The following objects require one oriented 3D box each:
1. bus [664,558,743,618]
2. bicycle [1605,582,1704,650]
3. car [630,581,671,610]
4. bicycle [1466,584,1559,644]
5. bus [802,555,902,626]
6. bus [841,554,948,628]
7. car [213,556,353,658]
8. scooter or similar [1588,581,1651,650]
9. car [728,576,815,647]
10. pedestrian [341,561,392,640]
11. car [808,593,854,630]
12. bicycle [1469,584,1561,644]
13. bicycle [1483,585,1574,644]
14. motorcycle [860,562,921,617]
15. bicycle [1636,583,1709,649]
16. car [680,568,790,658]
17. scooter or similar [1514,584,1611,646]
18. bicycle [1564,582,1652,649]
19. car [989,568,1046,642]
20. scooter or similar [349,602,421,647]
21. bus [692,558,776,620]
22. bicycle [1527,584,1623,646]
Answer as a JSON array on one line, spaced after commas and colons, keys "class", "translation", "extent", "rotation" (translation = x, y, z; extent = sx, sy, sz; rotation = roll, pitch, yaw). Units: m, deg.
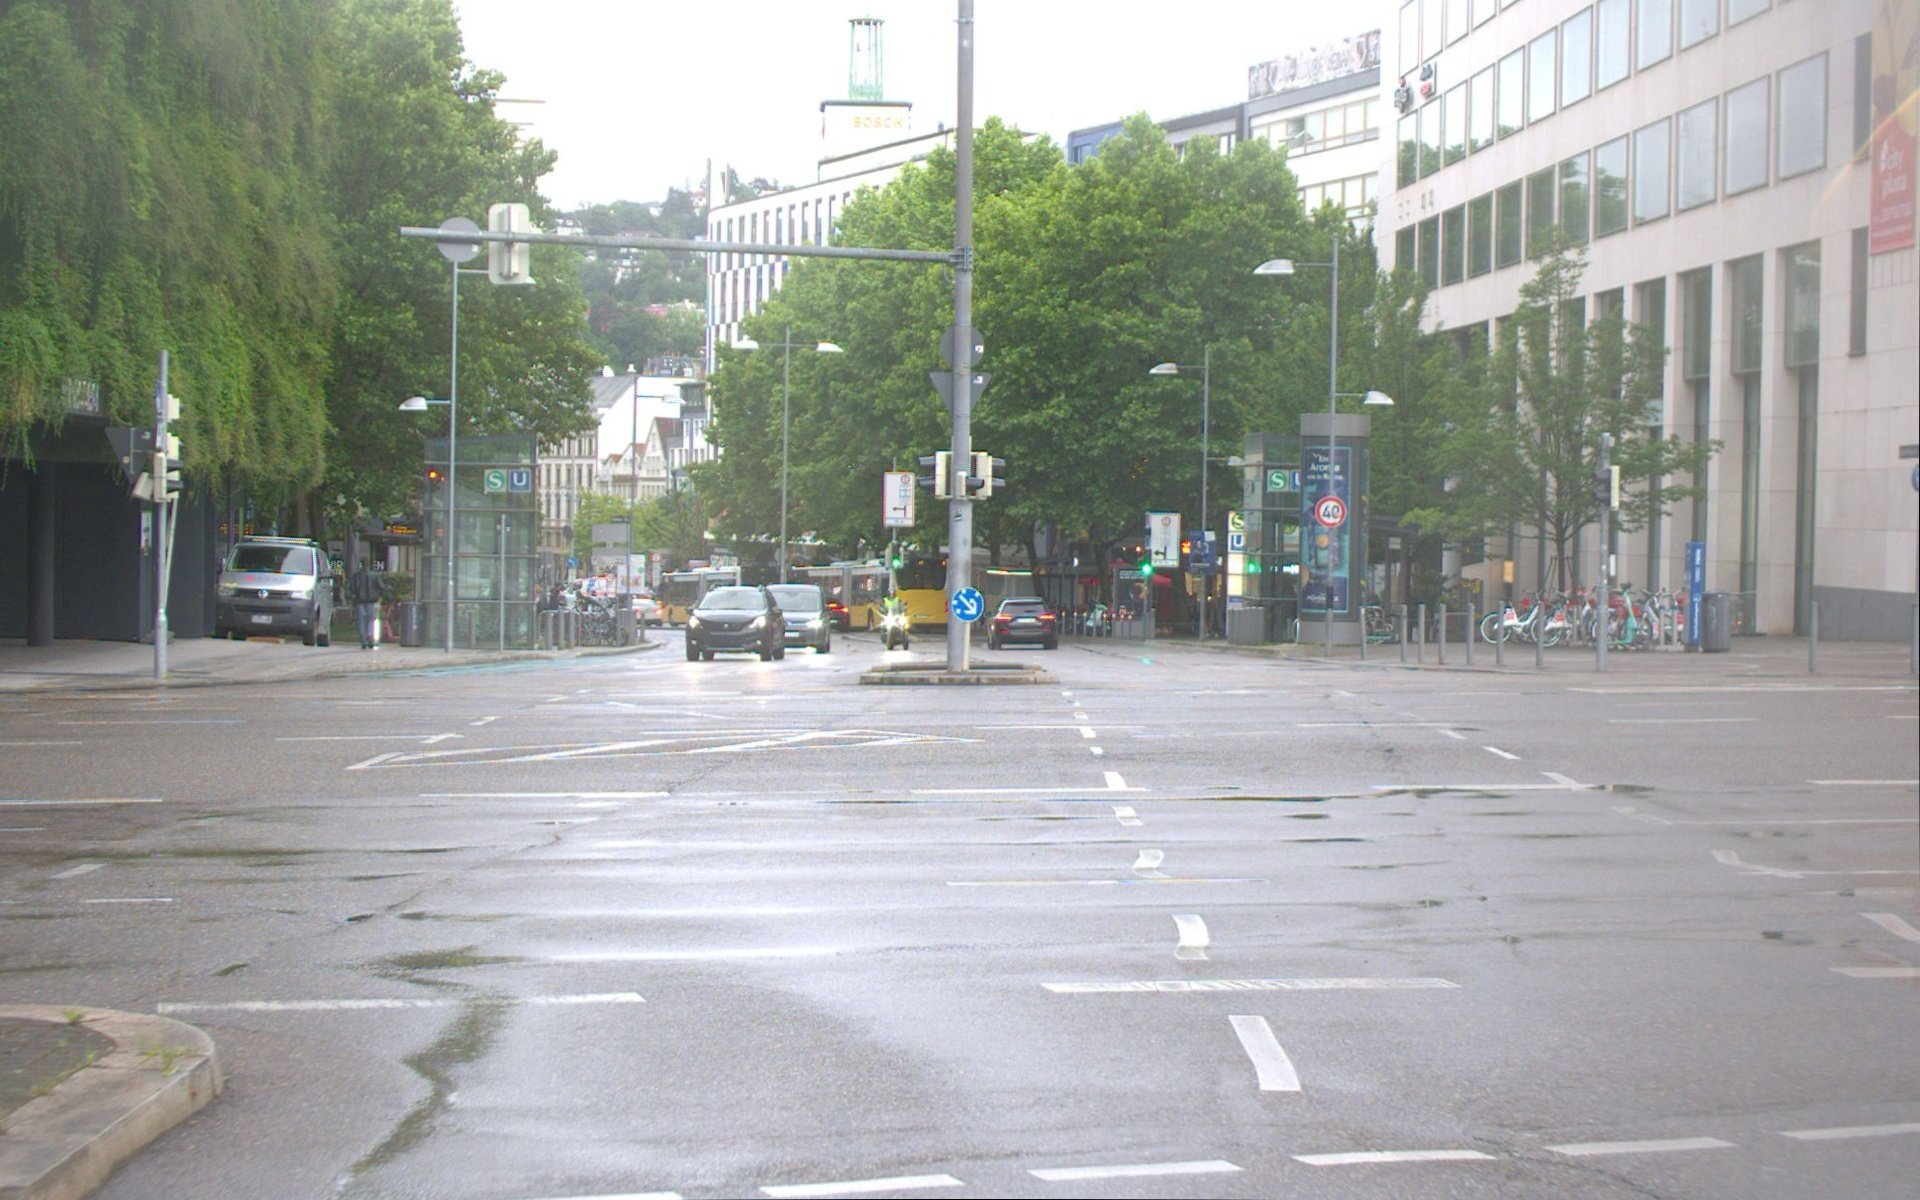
[{"class": "bus", "translation": [-13.190, -0.640, 176.578], "extent": [2.627, 2.985, 7.451], "rotation": [0, 0, -16]}, {"class": "bicycle", "translation": [12.335, 0.280, 61.060], "extent": [1.624, 1.190, 0.586], "rotation": [0, 0, 26]}, {"class": "car", "translation": [-16.101, -0.238, 178.950], "extent": [1.781, 1.503, 4.000], "rotation": [1, 0, -1]}, {"class": "bicycle", "translation": [11.083, 0.285, 68.992], "extent": [1.777, 1.190, 0.586], "rotation": [1, 0, 2]}, {"class": "bus", "translation": [-4.752, -0.447, 149.328], "extent": [2.627, 2.985, 7.451], "rotation": [0, 0, -16]}, {"class": "bus", "translation": [-2.743, -0.392, 142.180], "extent": [2.627, 2.985, 7.451], "rotation": [0, 0, -16]}, {"class": "car", "translation": [-12.677, 0.132, 64.569], "extent": [1.870, 1.833, 4.000], "rotation": [1, 0, -1]}, {"class": "scooter or similar", "translation": [11.581, 0.272, 60.376], "extent": [0.963, 1.190, 0.454], "rotation": [0, 0, 40]}, {"class": "car", "translation": [-4.867, 0.290, 88.804], "extent": [2.164, 1.759, 5.112], "rotation": [1, 0, -3]}, {"class": "pedestrian", "translation": [-12.550, 0.013, 72.749], "extent": [0.933, 1.638, 0.774], "rotation": [1, 0, -1]}, {"class": "car", "translation": [-5.327, 0.464, 142.168], "extent": [1.781, 1.503, 4.000], "rotation": [1, 0, -1]}, {"class": "bicycle", "translation": [11.231, 0.288, 69.627], "extent": [1.777, 1.190, 0.586], "rotation": [1, 0, 2]}, {"class": "bicycle", "translation": [11.660, 0.294, 70.544], "extent": [1.777, 1.190, 0.586], "rotation": [1, 0, 2]}, {"class": "motorcycle", "translation": [-1.975, -0.286, 97.224], "extent": [1.551, 1.509, 4.385], "rotation": [1, 0, -3]}, {"class": "bicycle", "translation": [13.098, 0.292, 63.169], "extent": [0.586, 1.190, 1.779], "rotation": [0, 0, 38]}, {"class": "car", "translation": [-4.602, 0.265, 70.664], "extent": [2.164, 1.759, 5.112], "rotation": [1, 0, -3]}, {"class": "scooter or similar", "translation": [11.775, 0.288, 67.200], "extent": [1.777, 1.190, 0.586], "rotation": [1, 0, 2]}, {"class": "bicycle", "translation": [11.793, 0.279, 62.613], "extent": [0.584, 1.190, 1.783], "rotation": [1, 0, -28]}, {"class": "car", "translation": [1.582, 0.141, 96.127], "extent": [1.544, 2.007, 4.668], "rotation": [1, 0, 0]}, {"class": "scooter or similar", "translation": [-13.170, 0.564, 78.782], "extent": [0.623, 1.001, 1.657], "rotation": [0, 1, 38]}, {"class": "bus", "translation": [-11.180, -0.569, 169.479], "extent": [2.627, 2.985, 7.330], "rotation": [0, 0, -16]}, {"class": "bicycle", "translation": [12.129, 0.292, 67.823], "extent": [1.777, 1.190, 0.586], "rotation": [1, 0, 2]}]
